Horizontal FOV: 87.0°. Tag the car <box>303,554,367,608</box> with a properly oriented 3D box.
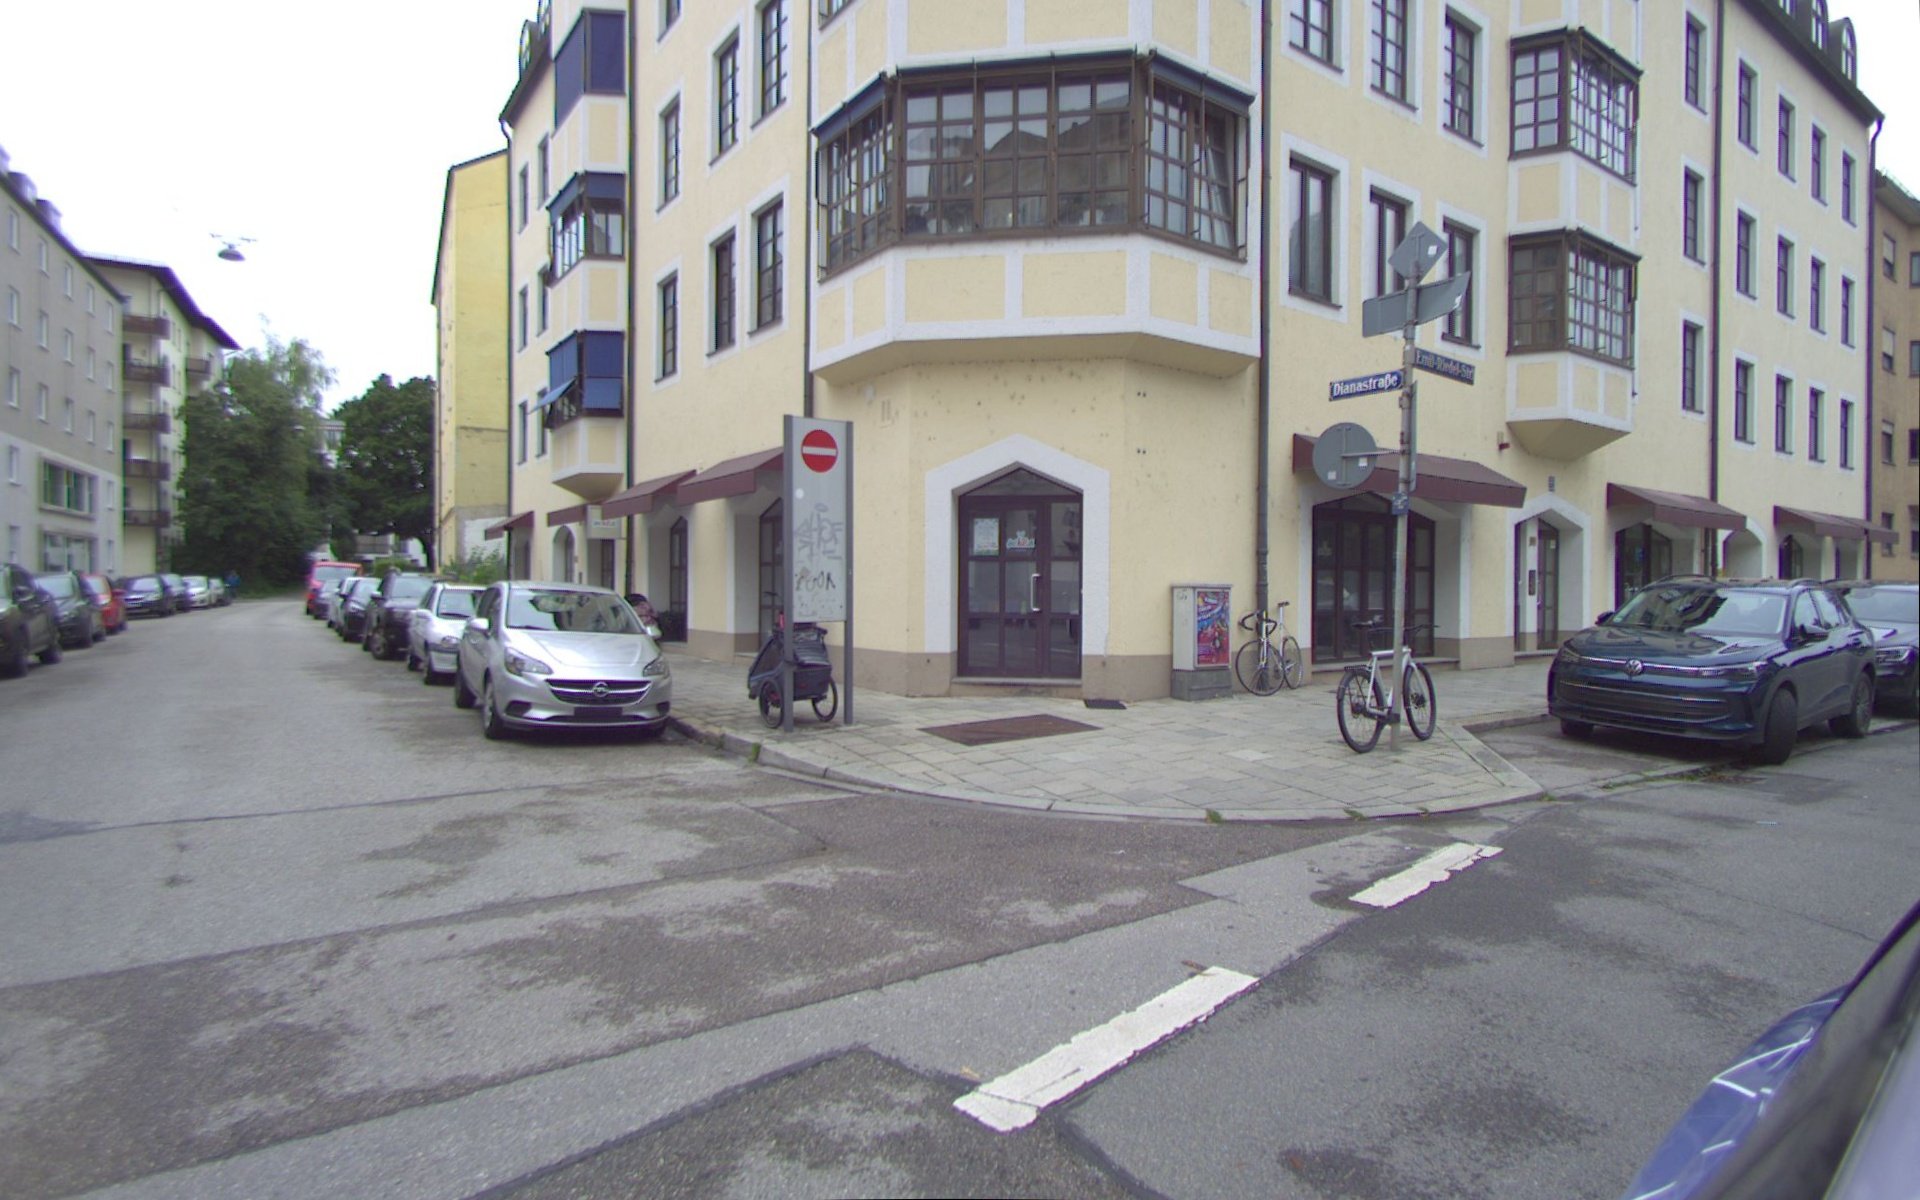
[{"bbox_3d":[-24.890,-0.748,40.290,2.025,2.003,4.434,-1,1,-32],"label":"car"}]

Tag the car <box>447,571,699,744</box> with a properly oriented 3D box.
[{"bbox_3d":[-4.207,0.480,10.645,1.717,1.458,3.749,3,0,-32],"label":"car"}]

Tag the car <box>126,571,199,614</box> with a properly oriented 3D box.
[{"bbox_3d":[-32.049,-0.361,40.760,1.940,1.587,4.434,-1,2,-34],"label":"car"}]

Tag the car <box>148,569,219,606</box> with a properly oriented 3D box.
[{"bbox_3d":[-34.571,-0.577,45.170,1.939,1.588,4.436,-1,1,-30],"label":"car"}]

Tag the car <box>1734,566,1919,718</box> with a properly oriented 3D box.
[{"bbox_3d":[12.167,0.424,13.295,4.083,1.607,1.822,-1,6,-33],"label":"car"}]

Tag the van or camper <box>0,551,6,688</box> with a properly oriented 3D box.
[{"bbox_3d":[-11.676,0.209,10.422,1.924,1.942,4.916,-3,3,-35],"label":"van or camper"}]

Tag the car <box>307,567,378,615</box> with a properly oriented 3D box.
[{"bbox_3d":[-22.022,-0.339,36.035,1.941,1.588,4.432,-1,1,-34],"label":"car"}]

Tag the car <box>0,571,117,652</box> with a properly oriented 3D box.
[{"bbox_3d":[-19.079,0.202,20.959,1.940,1.522,4.672,0,0,-33],"label":"car"}]

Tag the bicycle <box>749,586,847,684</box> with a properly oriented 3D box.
[{"bbox_3d":[-2.203,0.420,13.552,0.506,1.201,1.906,0,1,-35],"label":"bicycle"}]

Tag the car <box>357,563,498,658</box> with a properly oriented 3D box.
[{"bbox_3d":[-10.242,0.128,19.318,1.947,1.604,4.030,-1,1,-34],"label":"car"}]

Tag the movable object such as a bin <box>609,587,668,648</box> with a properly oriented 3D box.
[{"bbox_3d":[-6.110,0.316,19.206,0.753,1.094,1.126,-1,2,-35],"label":"movable object such as a bin"}]

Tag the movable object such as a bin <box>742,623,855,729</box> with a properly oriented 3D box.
[{"bbox_3d":[-1.603,0.711,9.953,0.671,0.911,1.126,-1,2,-35],"label":"movable object such as a bin"}]

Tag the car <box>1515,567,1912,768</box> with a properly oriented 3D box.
[{"bbox_3d":[7.873,0.511,10.458,4.413,1.643,2.113,-1,1,-36],"label":"car"}]

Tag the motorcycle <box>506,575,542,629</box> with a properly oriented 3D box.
[{"bbox_3d":[-11.447,0.019,26.543,0.546,1.356,1.887,-1,2,-33],"label":"motorcycle"}]

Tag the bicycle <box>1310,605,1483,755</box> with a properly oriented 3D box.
[{"bbox_3d":[3.953,0.662,9.085,2.014,1.173,0.431,-1,2,-36],"label":"bicycle"}]

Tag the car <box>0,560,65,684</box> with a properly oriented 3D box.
[{"bbox_3d":[-14.785,0.249,14.855,1.941,1.664,3.999,-1,2,-34],"label":"car"}]

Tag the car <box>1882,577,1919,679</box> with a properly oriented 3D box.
[{"bbox_3d":[16.432,0.432,15.954,3.855,1.541,1.767,-1,3,-32],"label":"car"}]

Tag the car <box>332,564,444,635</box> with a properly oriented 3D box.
[{"bbox_3d":[-14.226,-0.051,25.047,1.941,1.588,4.431,-1,1,-36],"label":"car"}]

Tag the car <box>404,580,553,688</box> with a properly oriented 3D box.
[{"bbox_3d":[-7.323,0.414,15.231,1.607,1.353,3.458,-1,2,-33],"label":"car"}]

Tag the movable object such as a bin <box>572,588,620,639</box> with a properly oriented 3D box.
[{"bbox_3d":[-7.722,0.278,21.455,0.671,1.026,1.126,-1,2,-35],"label":"movable object such as a bin"}]

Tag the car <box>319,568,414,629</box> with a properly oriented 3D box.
[{"bbox_3d":[-16.965,-0.080,28.843,1.941,1.588,4.431,-1,1,-36],"label":"car"}]

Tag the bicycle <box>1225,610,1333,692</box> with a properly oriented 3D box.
[{"bbox_3d":[3.982,0.613,12.583,1.663,0.912,0.263,-1,6,-35],"label":"bicycle"}]

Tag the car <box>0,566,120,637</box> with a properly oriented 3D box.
[{"bbox_3d":[-22.587,-0.045,25.401,1.941,1.587,4.671,-1,2,-35],"label":"car"}]

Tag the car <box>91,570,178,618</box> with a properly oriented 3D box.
[{"bbox_3d":[-29.433,-0.273,36.197,1.940,1.587,4.672,-1,2,-34],"label":"car"}]
